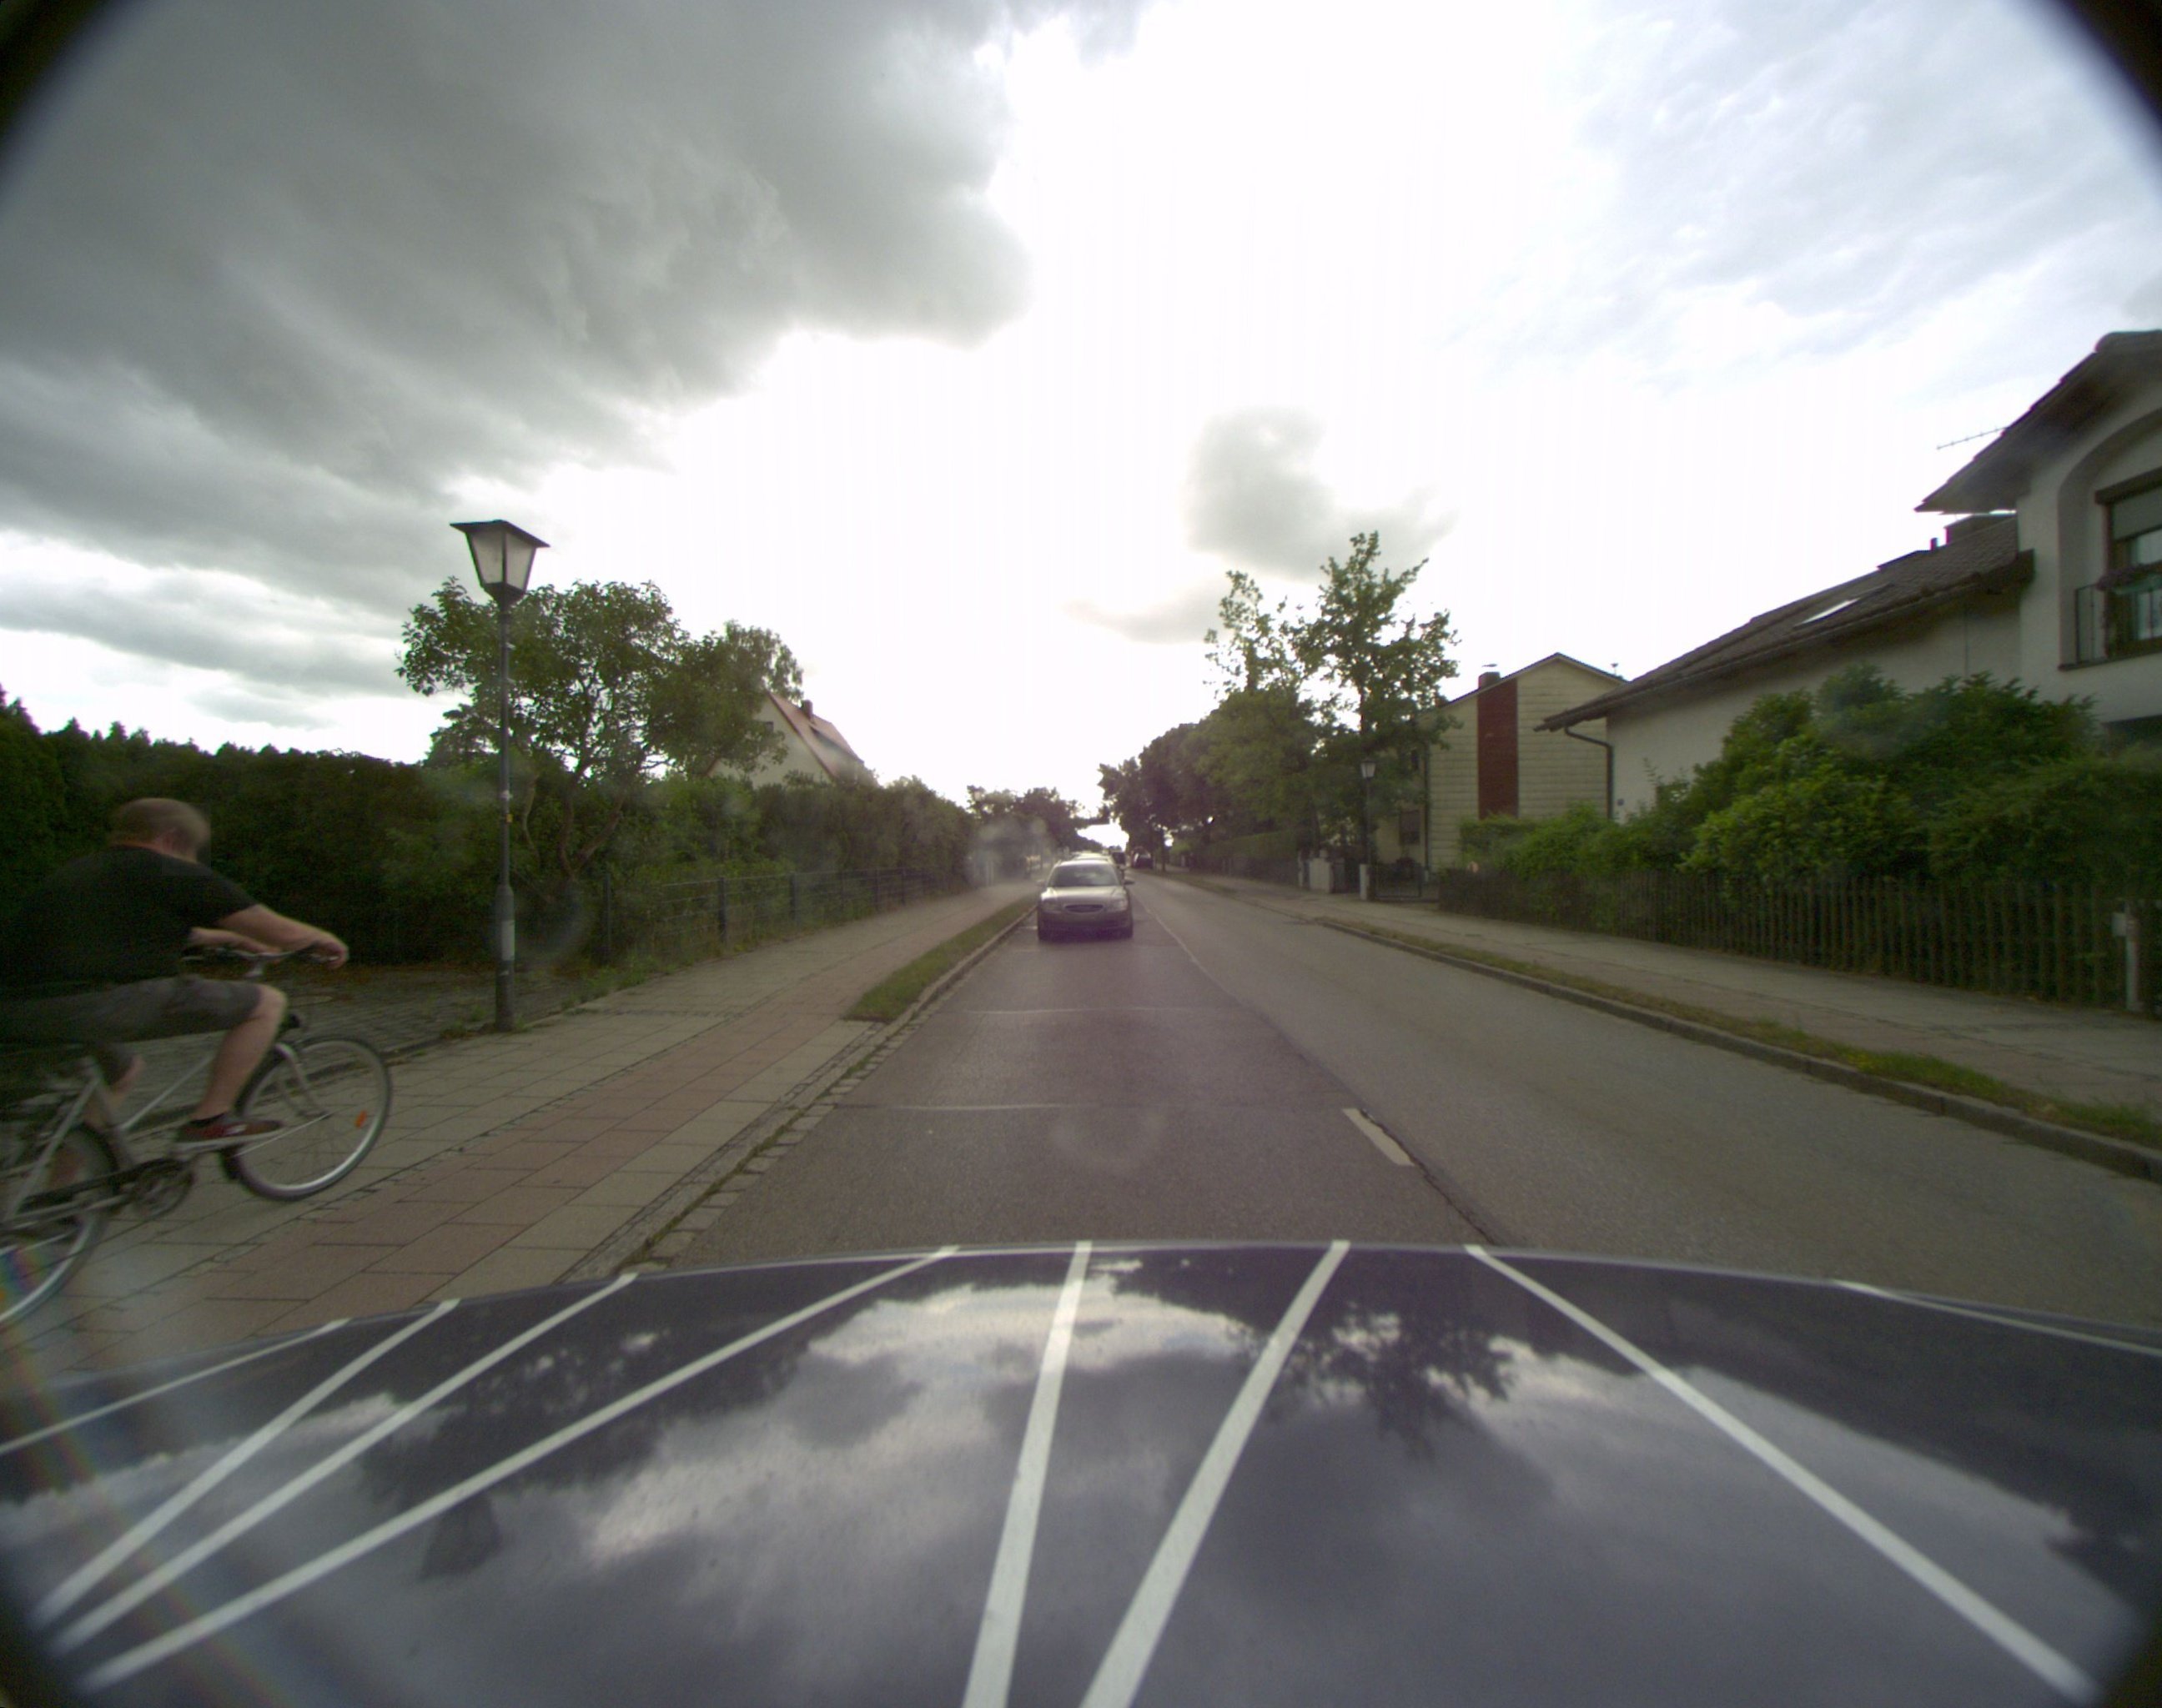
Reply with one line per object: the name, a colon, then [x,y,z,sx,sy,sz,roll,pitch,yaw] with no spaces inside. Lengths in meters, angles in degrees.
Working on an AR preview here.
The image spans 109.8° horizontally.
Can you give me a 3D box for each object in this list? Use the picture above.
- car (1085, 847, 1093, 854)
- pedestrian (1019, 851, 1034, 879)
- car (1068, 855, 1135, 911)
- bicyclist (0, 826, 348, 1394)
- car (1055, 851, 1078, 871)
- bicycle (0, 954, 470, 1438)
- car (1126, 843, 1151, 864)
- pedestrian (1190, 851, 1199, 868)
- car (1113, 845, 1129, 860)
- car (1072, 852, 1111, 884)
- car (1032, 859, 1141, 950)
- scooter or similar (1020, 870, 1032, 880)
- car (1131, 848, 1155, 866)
car: [2.078,-0.896,200.432,1.998,2.002,4.000,-1,0,1]
pedestrian: [-3.142,0.628,43.720,0.792,1.592,0.671,-1,1,-2]
car: [0.598,0.840,24.050,1.866,1.518,4.943,-1,0,1]
bicyclist: [-3.371,0.740,2.627,0.738,1.623,0.891,-1,1,4]
car: [-1.190,0.566,63.332,1.866,1.518,4.122,-1,0,0]
bicycle: [-3.352,1.053,2.711,0.766,1.136,1.845,-1,0,3]
car: [6.389,-0.050,84.450,2.246,2.258,4.469,-1,0,-2]
pedestrian: [9.335,0.447,62.558,0.631,1.429,0.563,-1,1,1]
car: [5.225,-0.196,100.073,1.969,1.842,4.948,-1,0,2]
car: [0.513,0.666,38.905,1.866,1.518,4.122,-1,0,1]
car: [0.115,0.875,15.088,1.809,1.476,4.270,-1,0,1]
scooter or similar: [-3.112,1.202,43.016,0.618,0.553,0.742,-1,0,-3]
car: [6.364,0.296,78.611,1.999,1.739,3.999,-1,0,-2]
